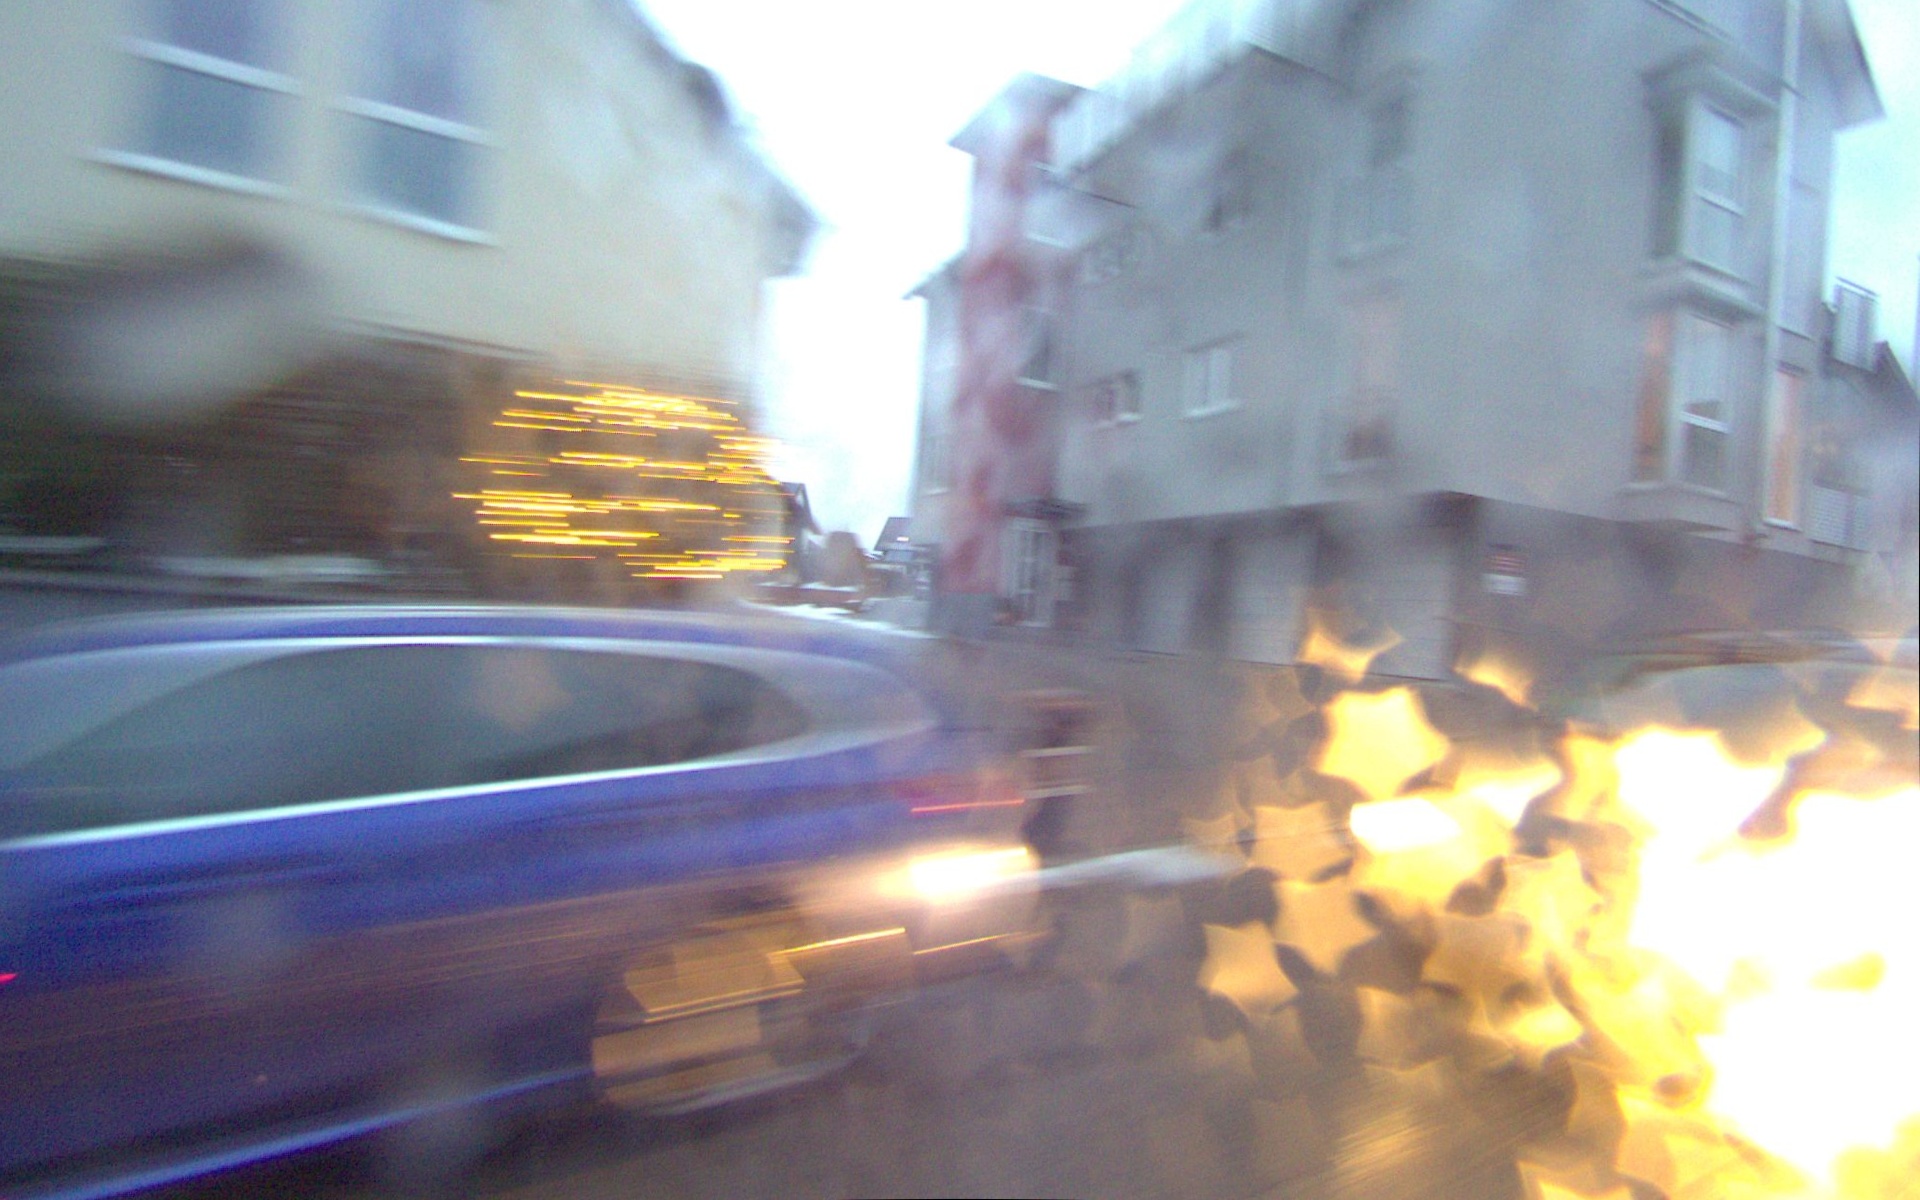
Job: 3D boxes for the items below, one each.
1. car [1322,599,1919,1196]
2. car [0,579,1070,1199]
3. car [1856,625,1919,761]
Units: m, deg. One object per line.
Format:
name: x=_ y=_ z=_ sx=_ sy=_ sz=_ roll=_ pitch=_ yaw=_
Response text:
car: x=3.721 y=0.811 z=4.529 sx=4.335 sy=1.515 sz=1.762 roll=2 pitch=-1 yaw=-35
car: x=-1.945 y=0.695 z=2.941 sx=4.390 sy=1.463 sz=1.724 roll=2 pitch=0 yaw=-32
car: x=12.031 y=1.082 z=11.474 sx=3.649 sy=1.436 sz=1.656 roll=2 pitch=1 yaw=-32
